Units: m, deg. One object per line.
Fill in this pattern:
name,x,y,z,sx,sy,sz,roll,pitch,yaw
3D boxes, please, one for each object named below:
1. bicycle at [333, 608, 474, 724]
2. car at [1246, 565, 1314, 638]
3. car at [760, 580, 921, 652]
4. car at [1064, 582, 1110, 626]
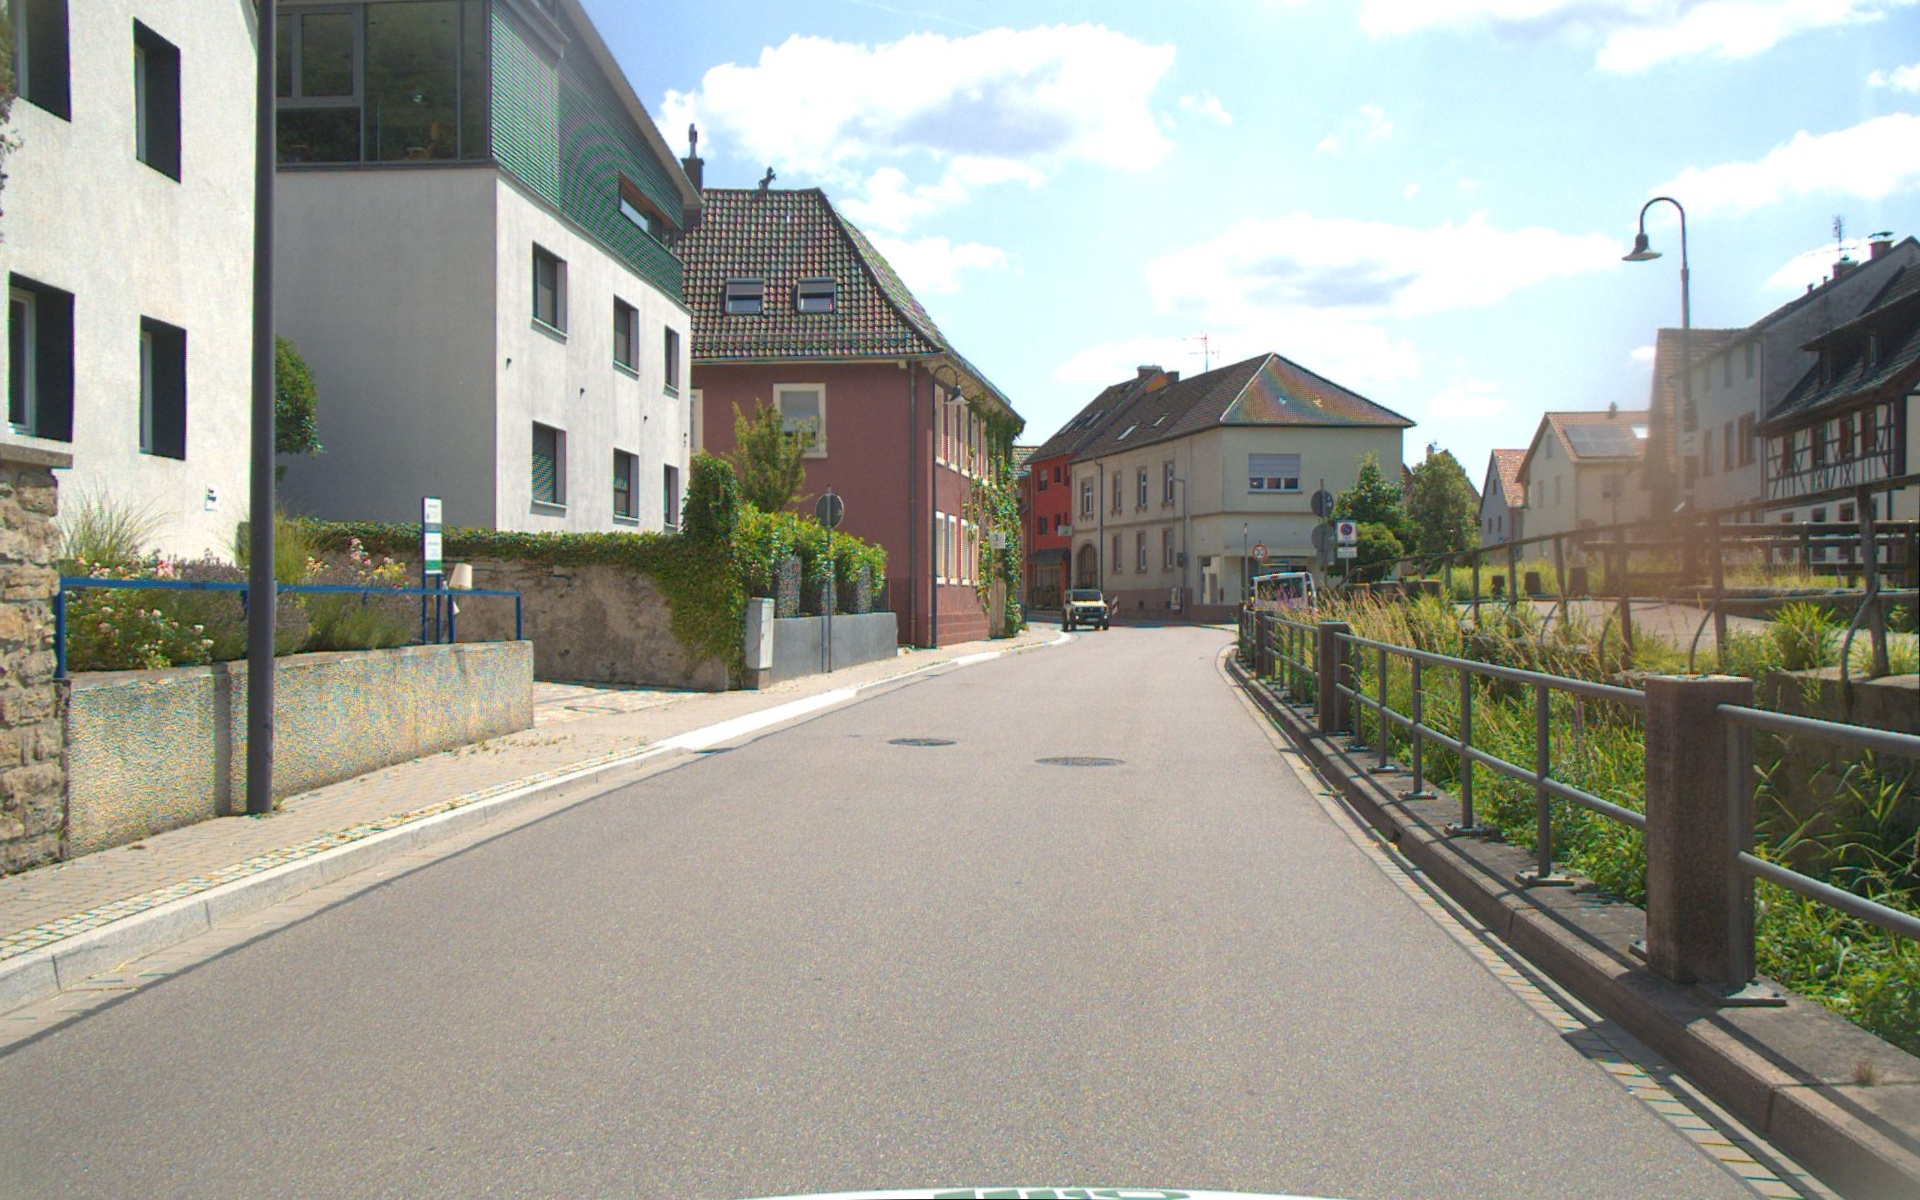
bicycle,-5.205,0.609,15.554,0.497,0.989,1.540,5,0,10
car,9.551,0.032,49.214,1.857,2.015,3.116,-2,0,12
car,-2.845,0.371,39.709,3.489,1.430,1.653,4,1,9
car,5.334,0.166,69.786,1.588,1.749,3.473,-2,0,0
